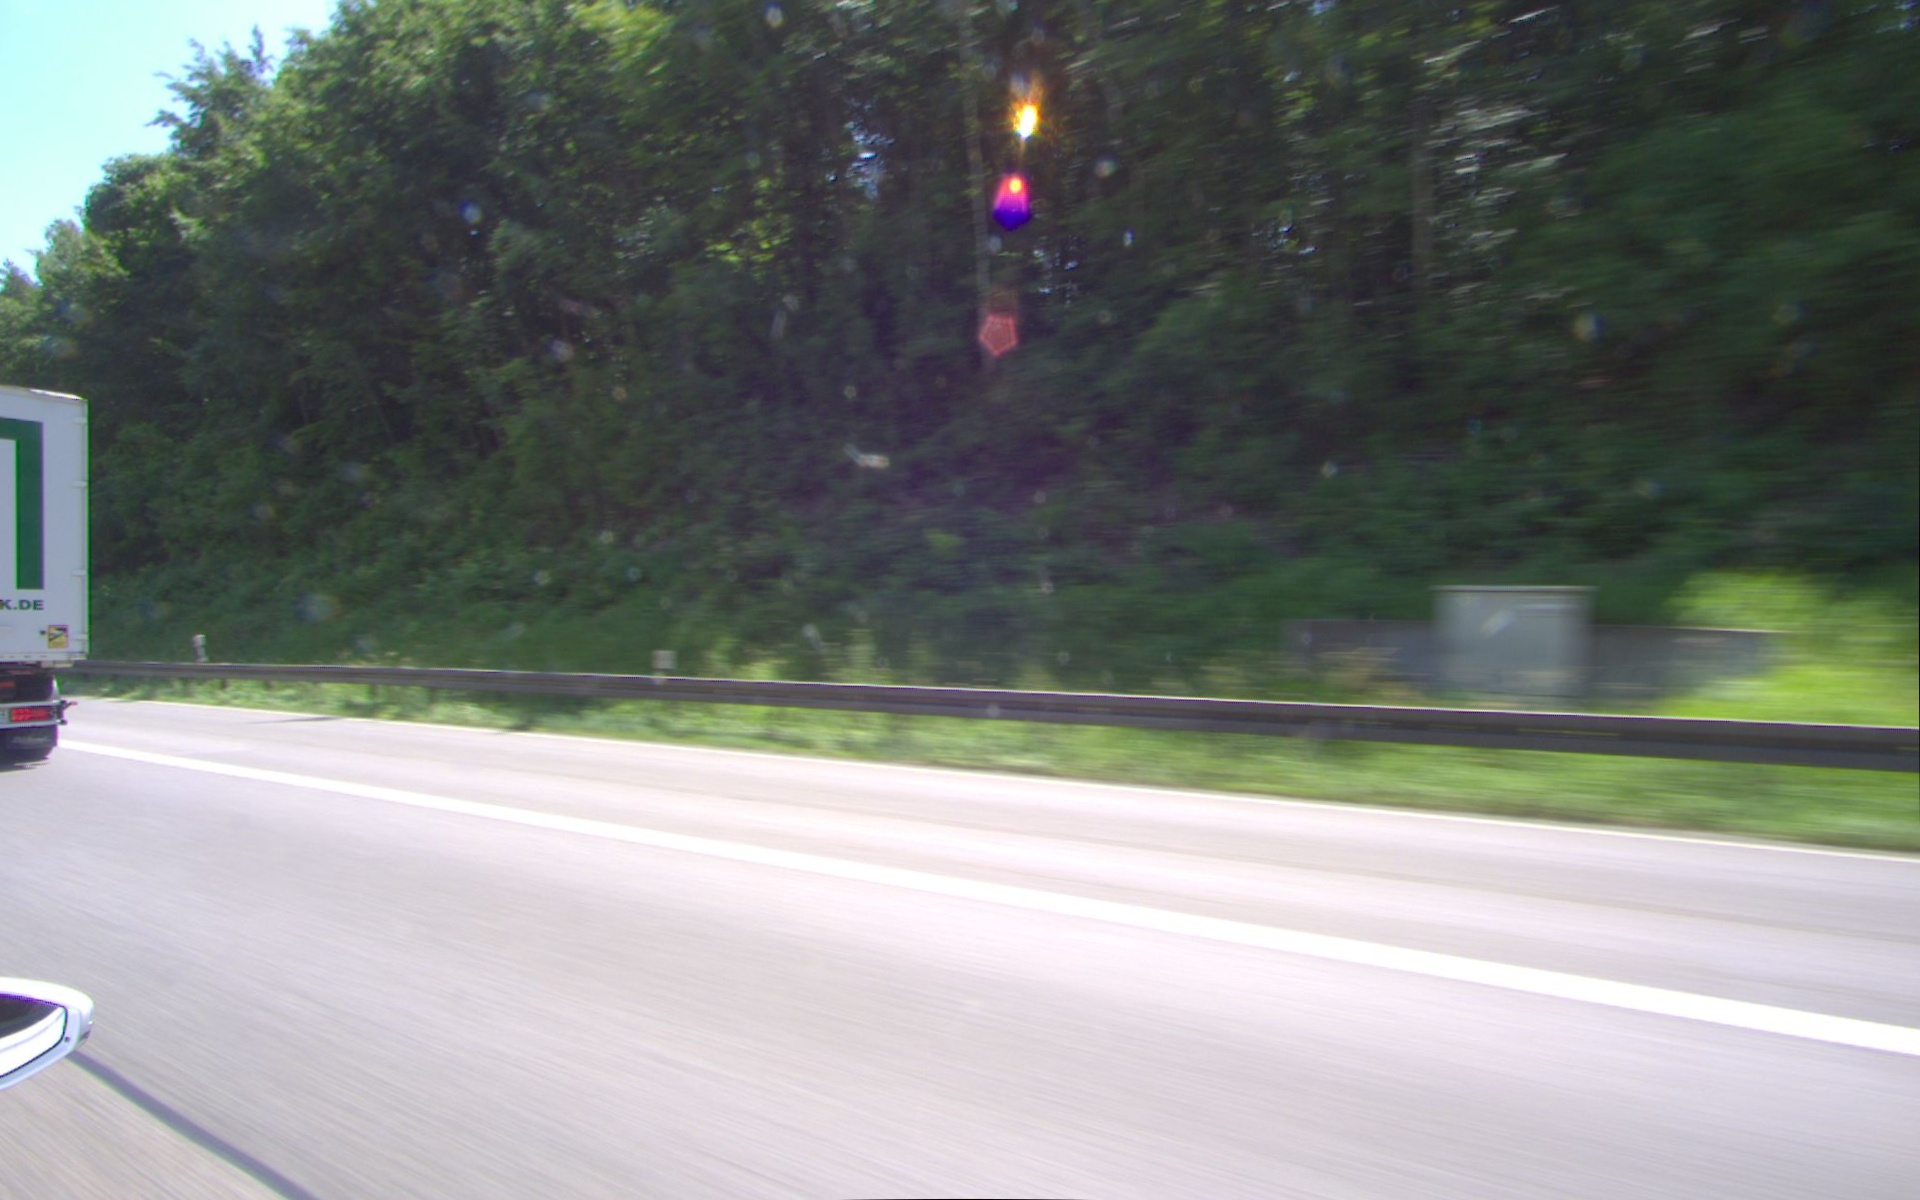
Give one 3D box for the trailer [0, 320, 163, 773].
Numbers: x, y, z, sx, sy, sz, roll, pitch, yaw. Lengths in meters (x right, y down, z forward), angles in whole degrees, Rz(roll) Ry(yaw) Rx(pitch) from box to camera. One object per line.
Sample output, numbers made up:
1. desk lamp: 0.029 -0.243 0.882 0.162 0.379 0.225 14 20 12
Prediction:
1. trailer: -13.194 -0.417 11.939 9.921 4.230 2.675 -1 -1 32
